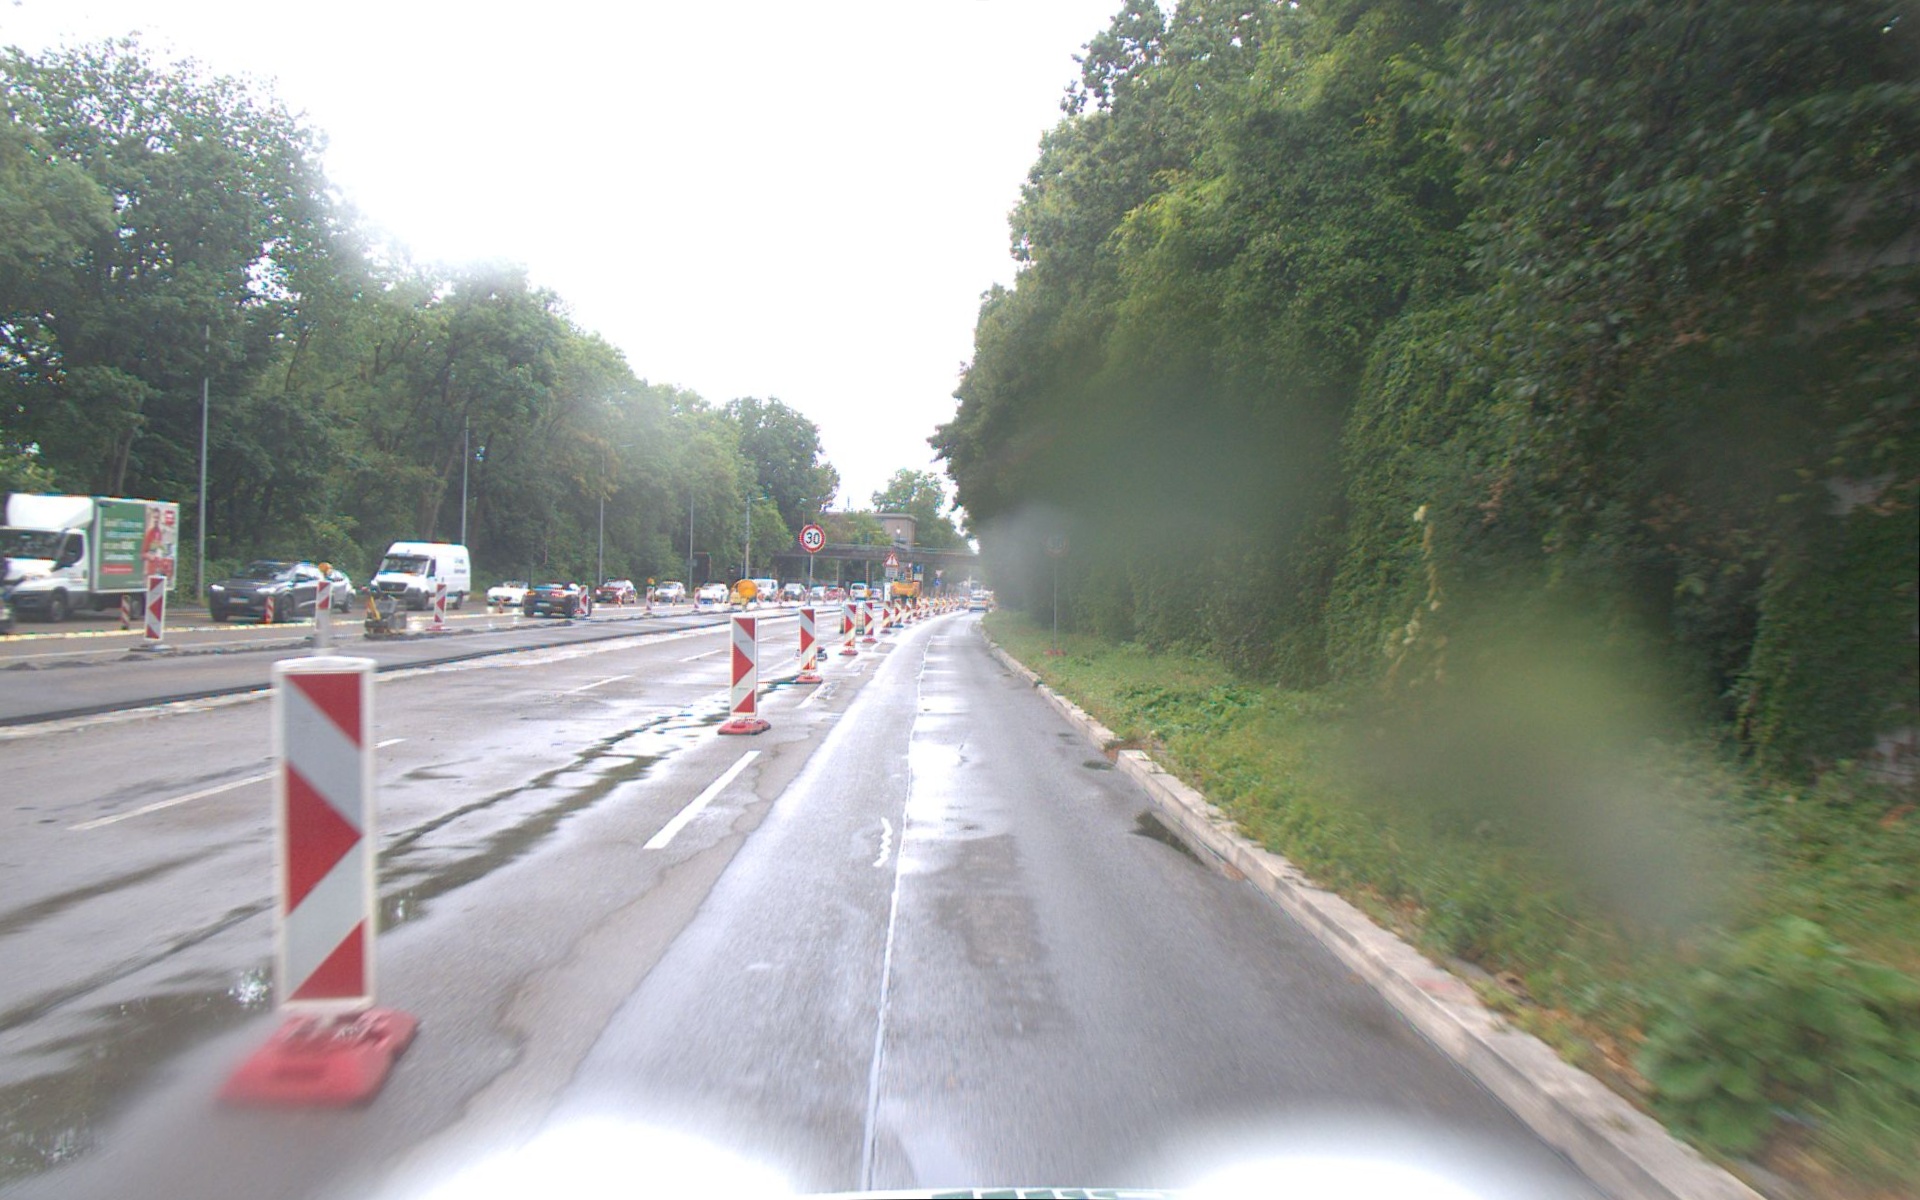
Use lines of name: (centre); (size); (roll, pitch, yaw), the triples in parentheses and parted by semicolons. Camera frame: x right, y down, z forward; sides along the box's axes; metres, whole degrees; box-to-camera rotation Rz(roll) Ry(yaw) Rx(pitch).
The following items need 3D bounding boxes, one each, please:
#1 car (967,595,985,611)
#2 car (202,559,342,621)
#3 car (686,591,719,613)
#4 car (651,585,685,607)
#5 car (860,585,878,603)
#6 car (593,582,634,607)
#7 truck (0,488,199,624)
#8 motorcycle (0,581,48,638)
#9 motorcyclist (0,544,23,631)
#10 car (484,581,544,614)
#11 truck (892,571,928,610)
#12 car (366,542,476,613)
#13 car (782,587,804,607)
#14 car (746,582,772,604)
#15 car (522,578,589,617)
car: (1.501, 0.277, 153.619); (1.662, 1.359, 3.491); (-1, 0, 0)
car: (-18.620, -0.258, 44.987); (1.919, 1.558, 4.436); (1, 0, 0)
car: (-18.005, 0.122, 115.823); (1.635, 1.511, 4.320); (1, 0, 0)
car: (-20.863, -0.317, 118.323); (1.635, 1.511, 4.049); (1, 0, 0)
car: (-9.932, -0.628, 180.220); (1.635, 1.840, 4.321); (1, 1, 0)
car: (-21.438, -0.334, 102.480); (1.635, 1.511, 4.320); (1, 0, 0)
truck: (-21.288, -1.004, 40.289); (2.200, 2.991, 6.935); (1, 0, 0)
motorcycle: (-18.074, 0.168, 30.854); (0.811, 1.032, 2.366); (2, 0, -1)
motorcyclist: (-18.055, -0.246, 30.655); (0.811, 1.592, 0.926); (2, 0, -1)
car: (-21.343, -0.111, 79.266); (1.635, 1.511, 4.320); (1, 0, 0)
truck: (-4.721, -0.917, 158.099); (3.193, 3.558, 13.867); (1, 0, -1)
car: (-21.211, -0.876, 65.474); (2.056, 2.625, 6.853); (1, 0, 0)
car: (-16.151, -0.291, 159.826); (1.635, 1.840, 4.320); (1, 0, 0)
car: (-16.948, -0.601, 139.533); (1.635, 1.840, 4.320); (1, 0, 0)
car: (-15.591, -0.116, 63.934); (1.574, 1.429, 4.041); (1, 0, 0)
